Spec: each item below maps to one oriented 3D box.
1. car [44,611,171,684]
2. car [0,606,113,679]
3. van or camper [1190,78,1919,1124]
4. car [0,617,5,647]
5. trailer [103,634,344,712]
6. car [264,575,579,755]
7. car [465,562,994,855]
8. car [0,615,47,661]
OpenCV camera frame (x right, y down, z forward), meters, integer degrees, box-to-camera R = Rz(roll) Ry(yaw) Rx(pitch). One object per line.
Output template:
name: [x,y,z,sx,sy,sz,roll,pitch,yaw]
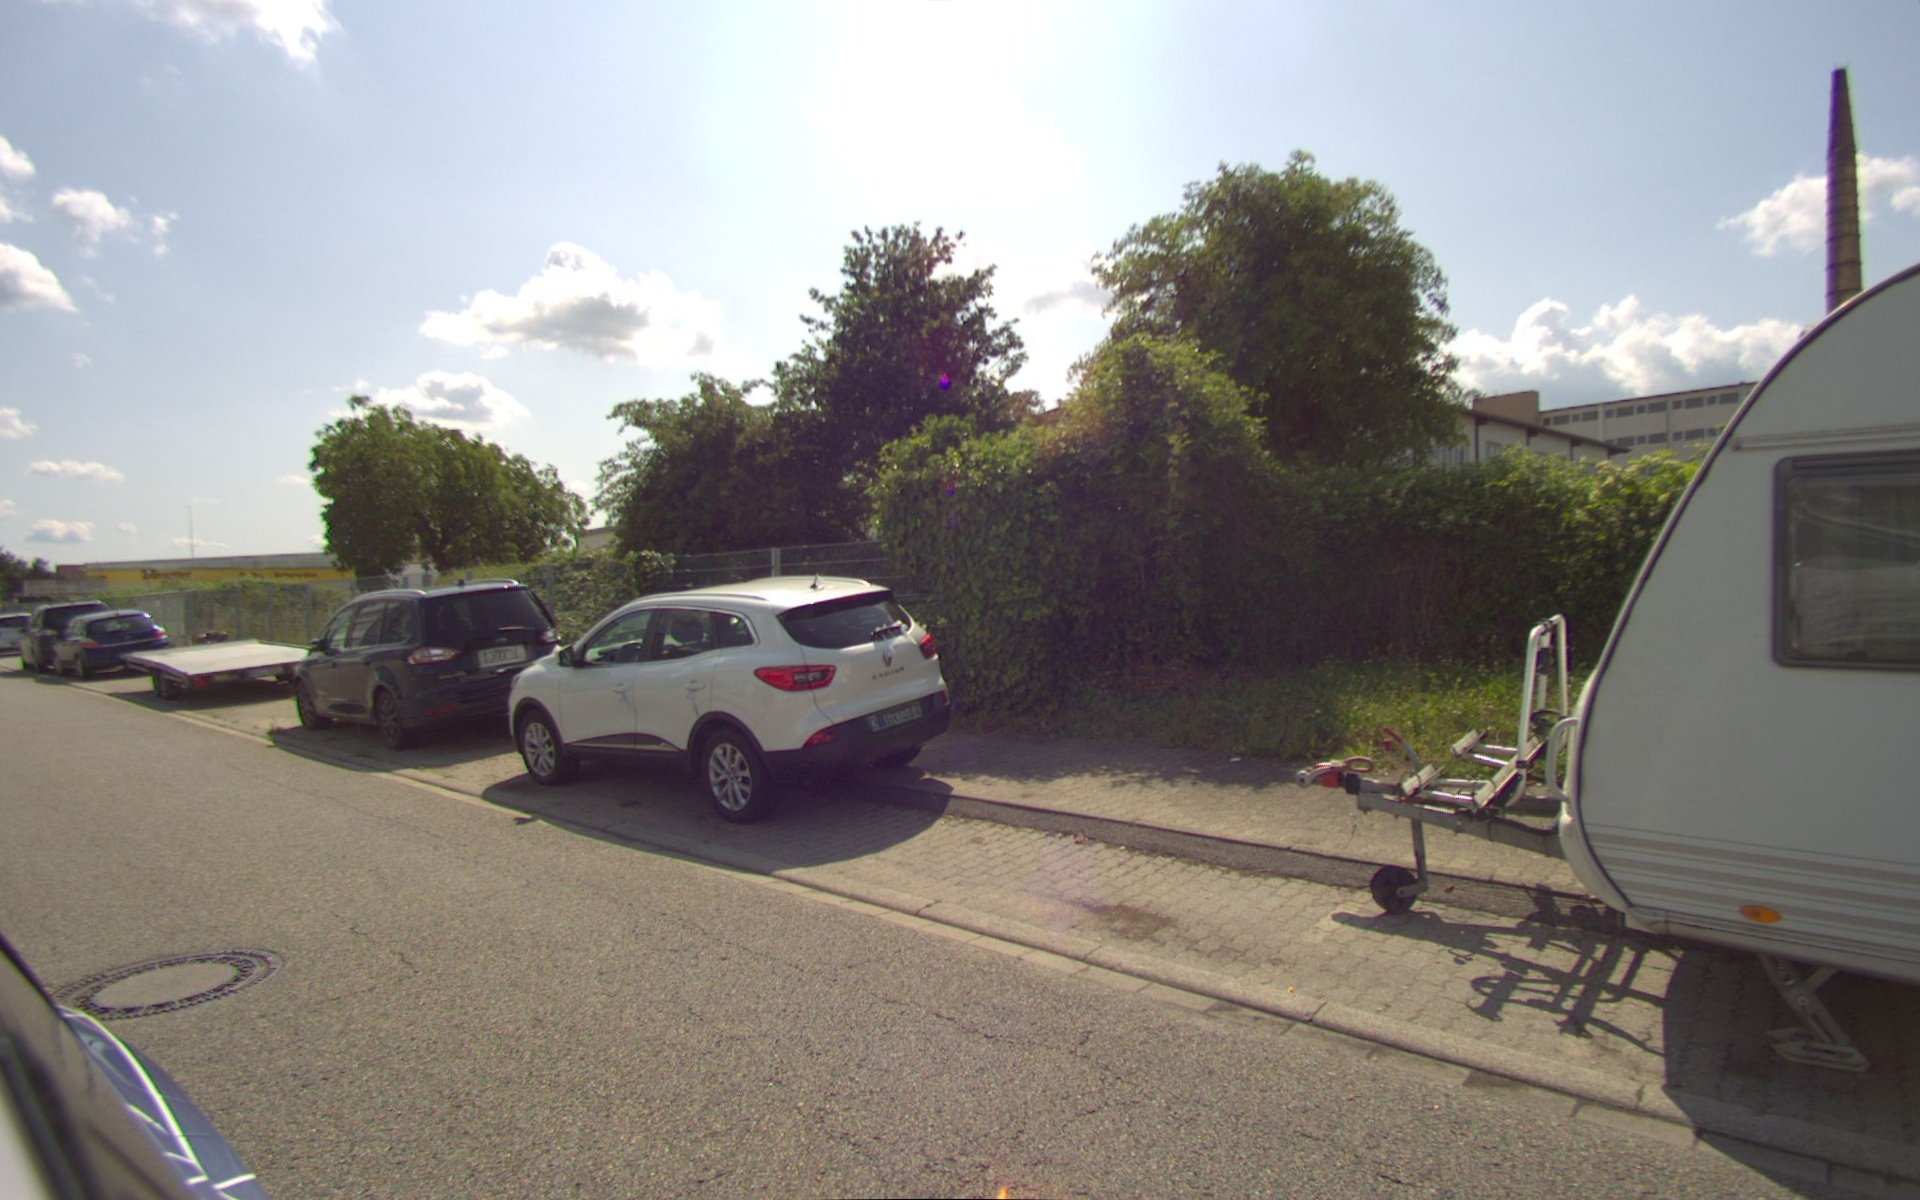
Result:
car: [-20.366,1.085,24.128,4.197,1.524,1.561,-1,1,40]
car: [-24.108,1.064,26.846,4.710,1.763,1.782,-1,0,41]
van or camper: [4.312,-0.073,2.733,6.828,2.824,2.241,-1,4,40]
car: [-48.540,1.677,49.948,3.825,1.439,1.603,-2,6,42]
trailer: [-13.947,1.235,18.903,7.131,0.889,2.248,-1,5,43]
car: [-6.722,0.685,12.370,4.733,1.807,1.808,-2,0,41]
car: [-2.050,0.694,8.227,4.439,1.704,1.668,-2,4,38]
car: [-34.157,1.356,36.314,3.708,1.494,1.599,-2,2,42]
